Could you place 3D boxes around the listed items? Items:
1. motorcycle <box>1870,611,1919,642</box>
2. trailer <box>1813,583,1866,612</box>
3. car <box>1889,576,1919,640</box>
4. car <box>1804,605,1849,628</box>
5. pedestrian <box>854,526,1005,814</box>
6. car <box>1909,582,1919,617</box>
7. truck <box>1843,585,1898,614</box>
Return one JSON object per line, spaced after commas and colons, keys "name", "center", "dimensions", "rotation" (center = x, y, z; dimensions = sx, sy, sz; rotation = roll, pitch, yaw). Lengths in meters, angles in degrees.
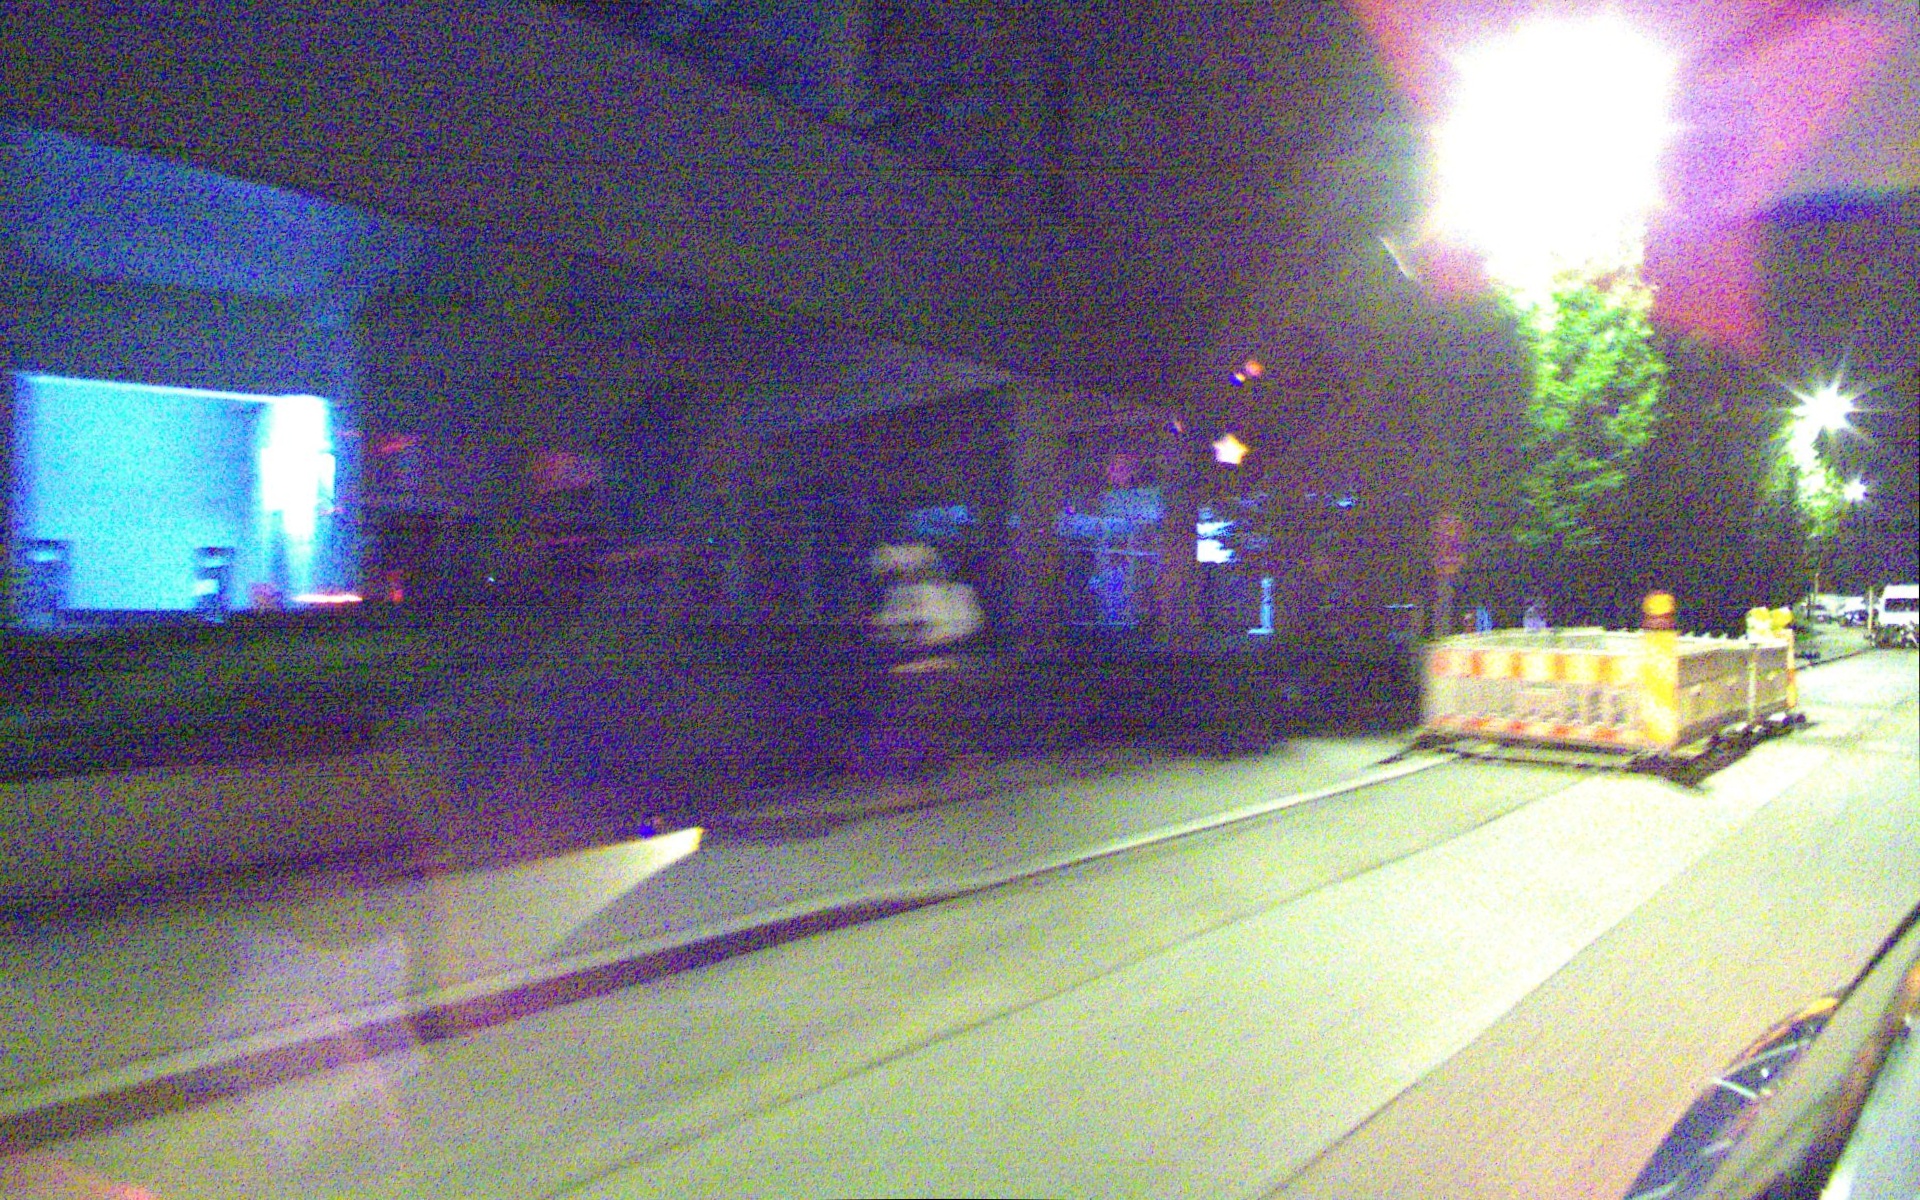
{"name": "motorcycle", "center": [37.005, 1.031, 39.505], "dimensions": [0.752, 1.199, 2.189], "rotation": [0, -1, -11]}
{"name": "trailer", "center": [98.608, -0.234, 113.634], "dimensions": [2.465, 3.111, 7.882], "rotation": [1, 0, 26]}
{"name": "car", "center": [40.315, 0.322, 42.125], "dimensions": [5.950, 2.559, 2.022], "rotation": [0, -1, -44]}
{"name": "car", "center": [79.963, 1.478, 93.458], "dimensions": [1.981, 2.039, 5.302], "rotation": [-1, -1, 28]}
{"name": "pedestrian", "center": [-0.210, 0.446, 7.080], "dimensions": [0.806, 1.875, 0.571], "rotation": [1, 3, -42]}
{"name": "car", "center": [90.101, -0.037, 92.627], "dimensions": [2.363, 3.284, 7.174], "rotation": [1, 0, 23]}
{"name": "truck", "center": [95.018, -0.061, 105.679], "dimensions": [1.978, 2.819, 7.186], "rotation": [1, 0, 23]}
